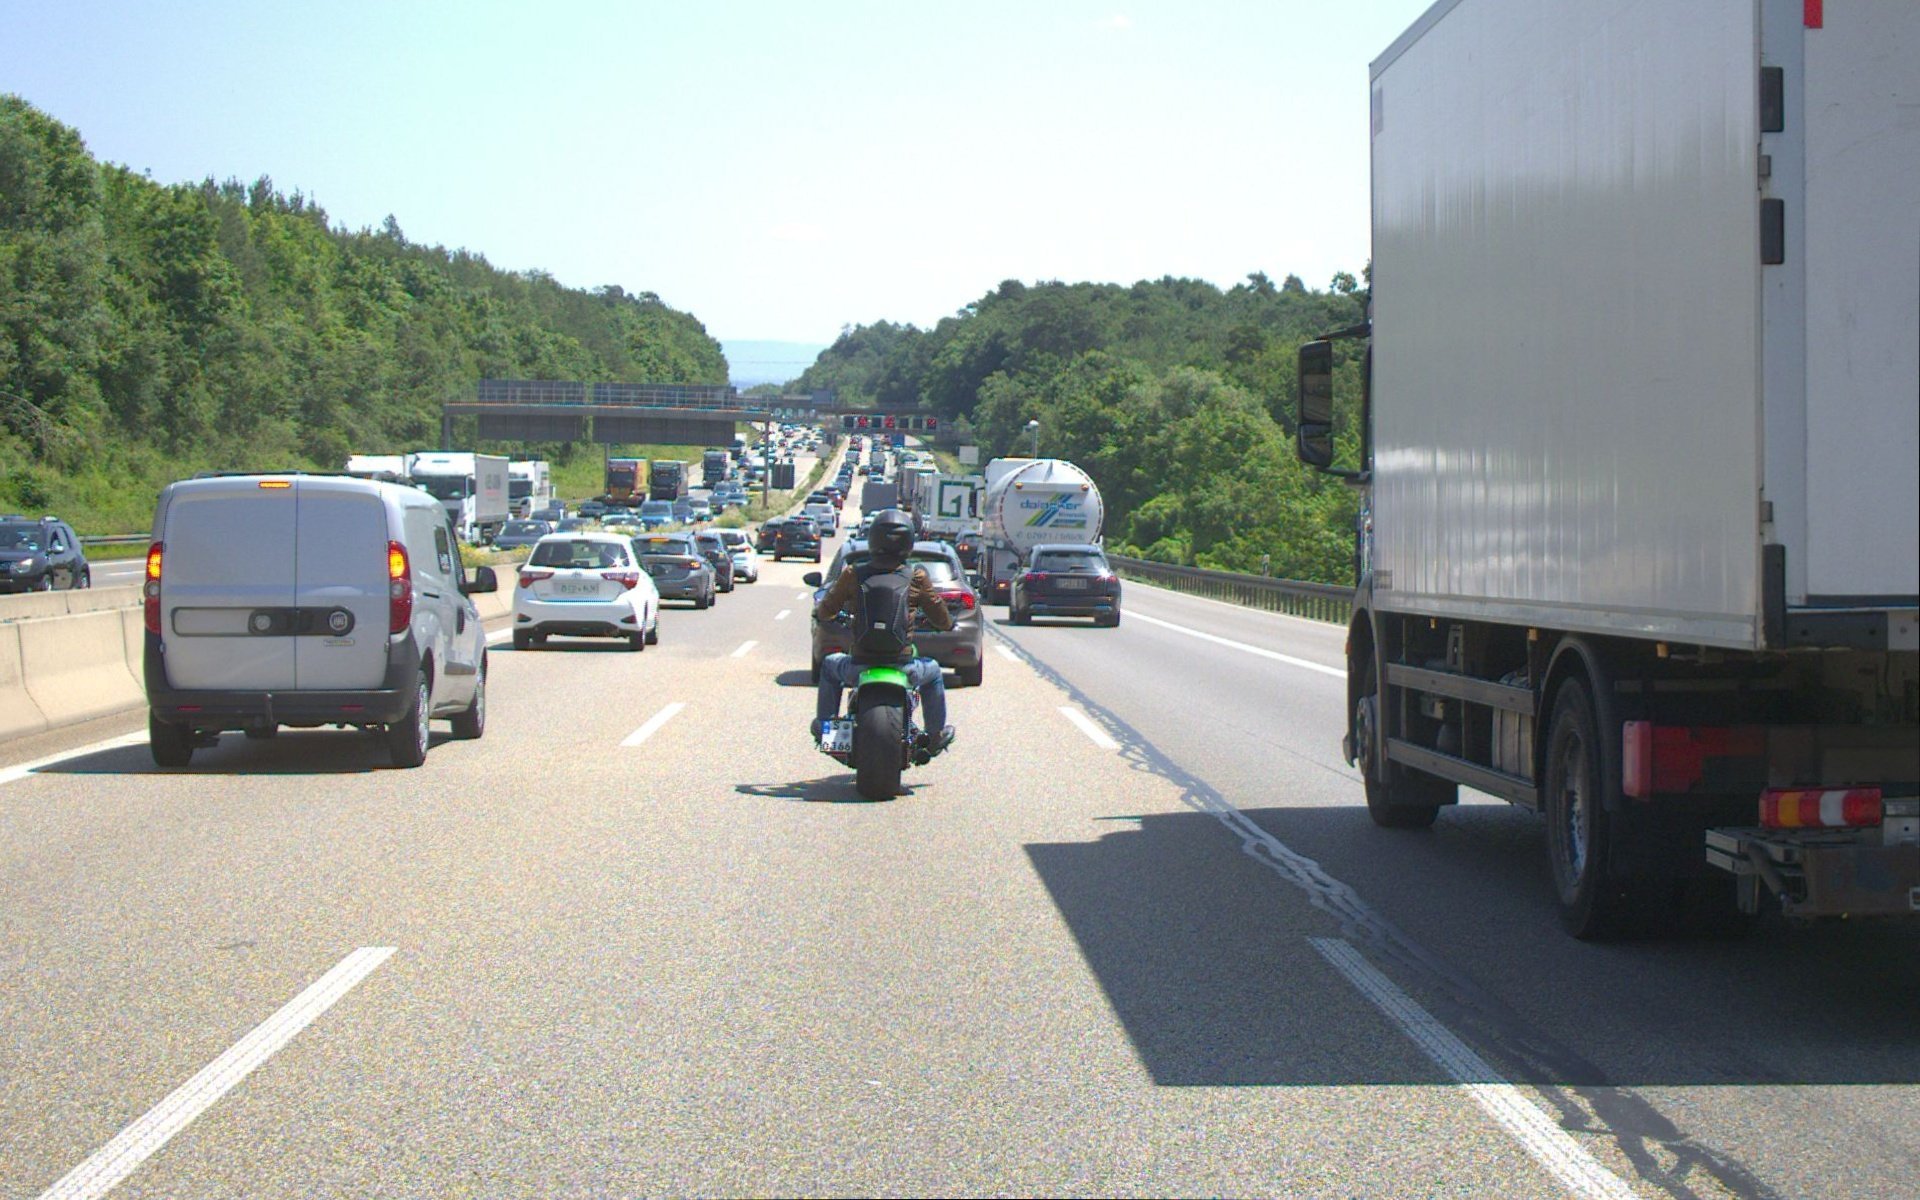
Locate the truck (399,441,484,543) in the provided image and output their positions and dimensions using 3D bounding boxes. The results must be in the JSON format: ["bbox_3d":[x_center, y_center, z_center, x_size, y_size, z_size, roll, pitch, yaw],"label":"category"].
[{"bbox_3d":[-21.984,-4.573,145.989,2.840,4.199,5.660,1,1,-1],"label":"truck"}]

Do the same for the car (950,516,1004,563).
[{"bbox_3d":[0.587,-2.149,121.331,1.787,1.550,3.804,2,2,-1],"label":"car"}]

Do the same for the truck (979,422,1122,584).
[{"bbox_3d":[2.083,-2.259,82.744,2.988,3.659,9.288,0,1,-1],"label":"truck"}]

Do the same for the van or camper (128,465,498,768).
[{"bbox_3d":[-4.326,0.080,23.587,1.796,1.886,4.160,0,1,-1],"label":"van or camper"}]

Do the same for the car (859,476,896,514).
[{"bbox_3d":[-5.817,-7.373,241.382,2.504,2.578,5.017,2,2,-1],"label":"car"}]

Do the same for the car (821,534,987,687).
[{"bbox_3d":[-0.542,0.069,36.280,1.533,1.504,4.000,0,1,2],"label":"car"}]

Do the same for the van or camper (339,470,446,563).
[{"bbox_3d":[-17.321,-2.546,105.270,2.230,2.751,6.837,0,1,-1],"label":"van or camper"}]

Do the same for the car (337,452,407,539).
[{"bbox_3d":[-26.411,-4.663,154.531,2.449,3.860,4.566,0,1,-2],"label":"car"}]

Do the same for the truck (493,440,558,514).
[{"bbox_3d":[-25.563,-7.185,202.587,2.803,4.150,7.600,0,1,1],"label":"truck"}]

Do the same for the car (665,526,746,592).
[{"bbox_3d":[-6.101,-1.003,82.852,1.699,1.473,4.001,2,2,-1],"label":"car"}]

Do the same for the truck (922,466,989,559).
[{"bbox_3d":[-0.272,-4.527,178.087,3.033,4.526,9.984,3,2,-1],"label":"truck"}]

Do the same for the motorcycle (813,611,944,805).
[{"bbox_3d":[-0.463,0.612,20.421,0.691,1.012,2.121,2,1,0],"label":"motorcycle"}]

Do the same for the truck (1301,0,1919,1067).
[{"bbox_3d":[3.438,-0.726,14.648,2.688,3.863,9.781,-1,1,-2],"label":"truck"}]

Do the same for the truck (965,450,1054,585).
[{"bbox_3d":[1.293,-2.186,91.832,1.993,3.510,4.752,0,1,-4],"label":"truck"}]

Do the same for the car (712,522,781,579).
[{"bbox_3d":[-5.896,-1.398,95.332,1.699,1.473,4.001,2,2,-1],"label":"car"}]

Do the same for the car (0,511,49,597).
[{"bbox_3d":[-19.244,-0.915,66.672,1.925,1.634,4.928,0,1,-1],"label":"car"}]

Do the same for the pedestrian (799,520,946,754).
[{"bbox_3d":[-0.510,0.206,20.466,0.849,1.357,0.961,0,1,0],"label":"pedestrian"}]

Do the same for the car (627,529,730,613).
[{"bbox_3d":[-5.374,-0.575,65.943,1.699,1.473,4.001,2,2,-1],"label":"car"}]

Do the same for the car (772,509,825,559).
[{"bbox_3d":[-6.284,-2.598,133.888,1.880,1.853,4.001,2,1,-1],"label":"car"}]

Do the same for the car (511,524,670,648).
[{"bbox_3d":[-4.783,-0.221,44.963,1.699,1.473,4.001,2,2,-1],"label":"car"}]

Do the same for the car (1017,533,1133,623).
[{"bbox_3d":[2.062,-0.426,62.560,1.828,1.465,4.001,2,1,-1],"label":"car"}]

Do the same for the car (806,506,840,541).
[{"bbox_3d":[-8.128,-4.532,204.047,1.929,2.007,4.000,0,1,-1],"label":"car"}]

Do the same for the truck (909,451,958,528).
[{"bbox_3d":[-1.856,-7.686,239.609,3.033,5.121,9.984,3,2,-1],"label":"truck"}]

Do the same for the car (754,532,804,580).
[{"bbox_3d":[-7.794,-1.904,148.200,1.993,2.007,4.000,0,1,-1],"label":"car"}]

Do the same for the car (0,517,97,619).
[{"bbox_3d":[-15.996,-0.578,58.402,1.693,1.677,4.196,0,1,-1],"label":"car"}]
